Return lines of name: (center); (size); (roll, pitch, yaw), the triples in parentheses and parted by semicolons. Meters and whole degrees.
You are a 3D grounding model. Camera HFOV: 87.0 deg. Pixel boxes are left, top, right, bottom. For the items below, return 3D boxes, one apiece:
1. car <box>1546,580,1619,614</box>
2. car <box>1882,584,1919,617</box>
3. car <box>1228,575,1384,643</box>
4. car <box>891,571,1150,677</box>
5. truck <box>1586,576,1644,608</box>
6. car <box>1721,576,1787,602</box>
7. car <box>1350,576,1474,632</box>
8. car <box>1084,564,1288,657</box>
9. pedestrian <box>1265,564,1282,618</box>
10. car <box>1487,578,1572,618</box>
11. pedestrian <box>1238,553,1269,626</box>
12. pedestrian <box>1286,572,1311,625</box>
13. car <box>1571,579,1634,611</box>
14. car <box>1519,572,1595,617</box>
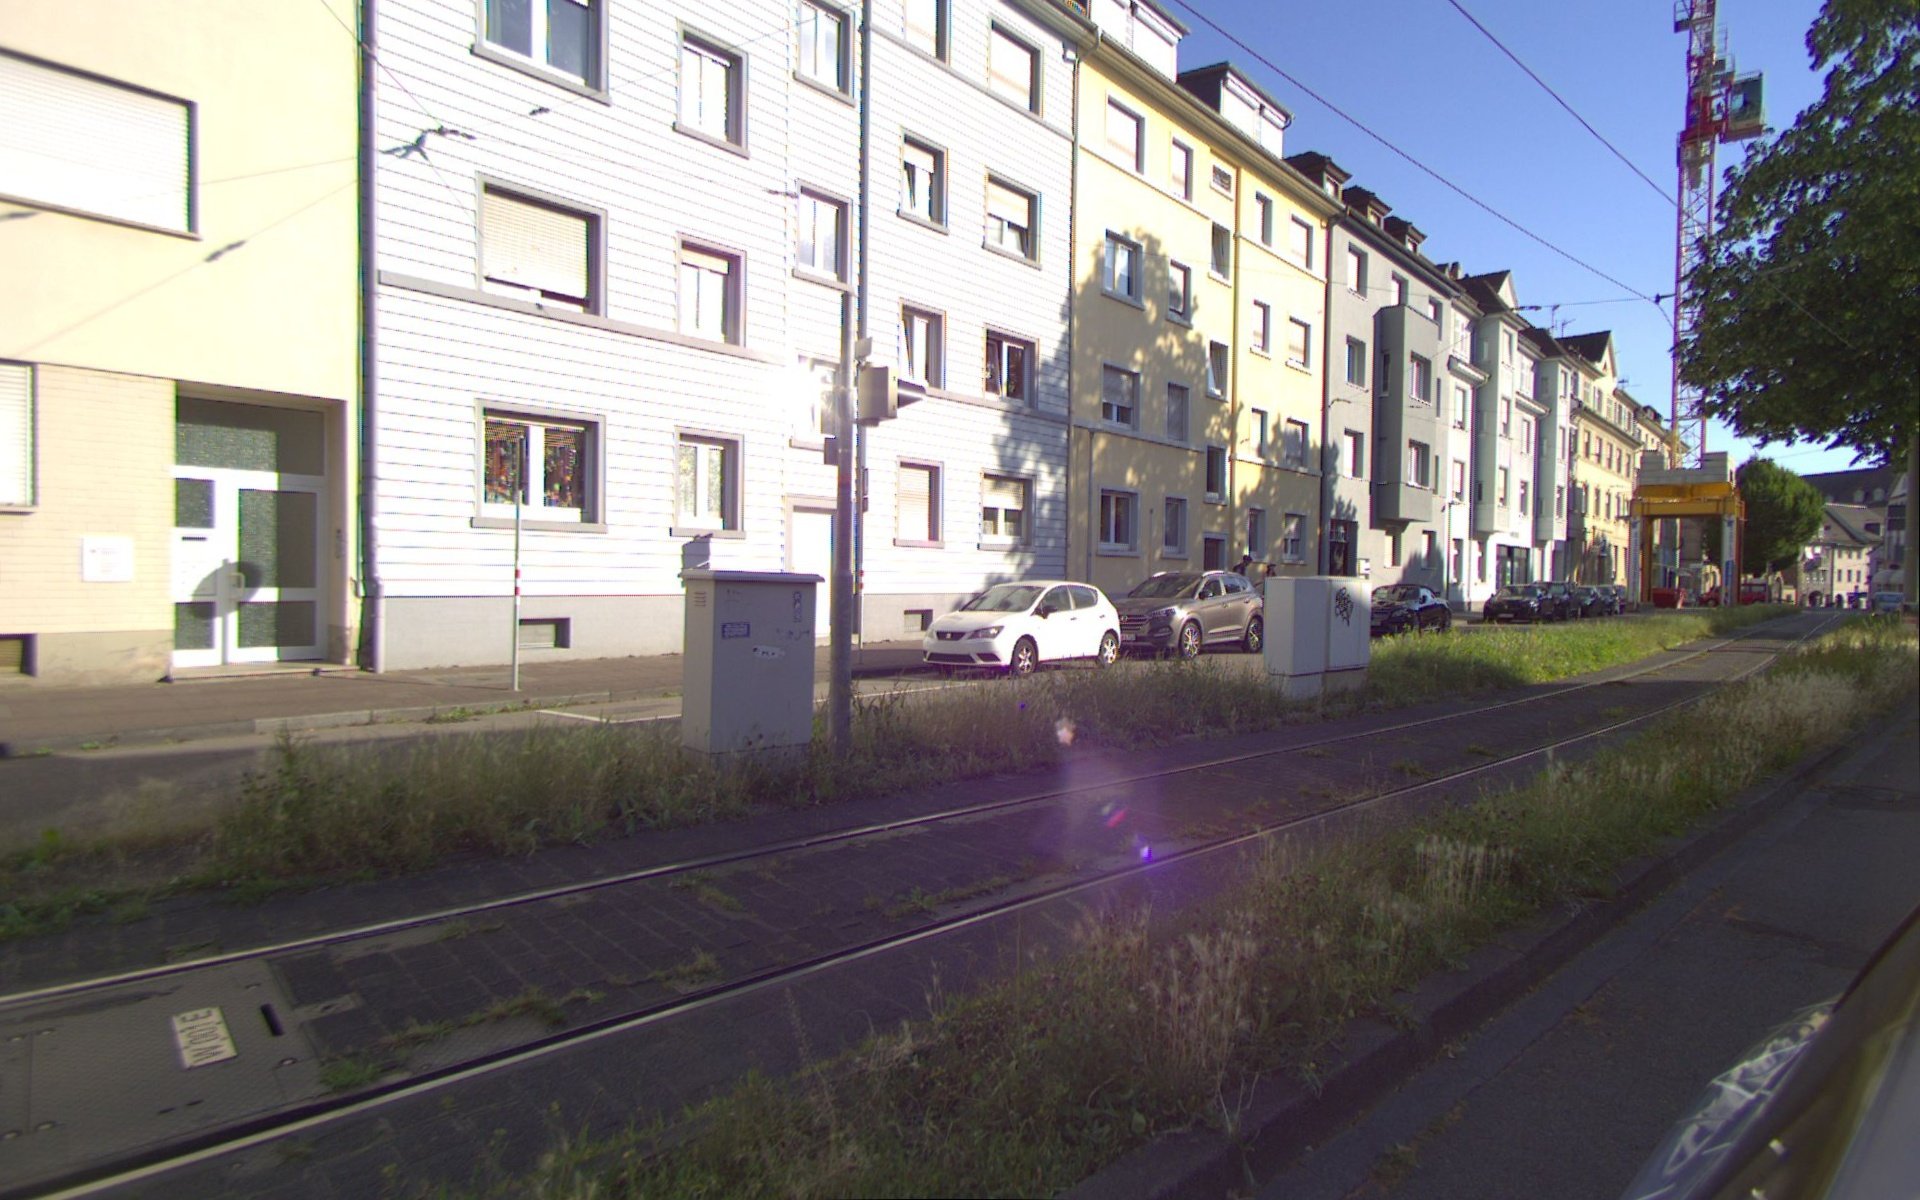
car: (28.787, -0.138, 46.768); (1.994, 1.403, 4.142); (3, 2, 44)
car: (46.764, 0.027, 49.730); (1.992, 1.538, 4.012); (3, 2, 40)
car: (8.366, 0.184, 24.230); (1.992, 1.403, 4.379); (3, 2, 41)
car: (1.110, 0.308, 16.235); (1.990, 1.403, 4.384); (3, 2, 38)
truck: (35.491, -0.424, 54.796); (1.993, 1.605, 4.035); (3, 2, 42)
car: (64.182, -0.923, 81.840); (4.055, 1.945, 1.971); (3, 2, 40)
car: (12.979, 0.096, 28.917); (1.992, 1.403, 4.379); (3, 2, 41)
car: (4.584, 0.115, 20.080); (1.992, 1.591, 4.572); (3, 3, 41)
pedestrian: (9.102, -0.263, 29.354); (0.303, 1.533, 0.438); (3, 2, 34)
car: (22.109, -0.096, 39.203); (1.992, 1.403, 4.379); (3, 2, 41)
pedestrian: (8.331, -0.305, 28.722); (0.611, 2.038, 0.640); (2, 1, 42)
pedestrian: (9.509, -0.041, 28.437); (0.523, 1.458, 0.454); (2, 1, 43)
car: (32.055, -0.245, 50.436); (1.993, 1.470, 4.035); (3, 2, 42)
car: (25.437, -0.254, 43.043); (1.992, 1.770, 4.146); (3, 2, 41)
